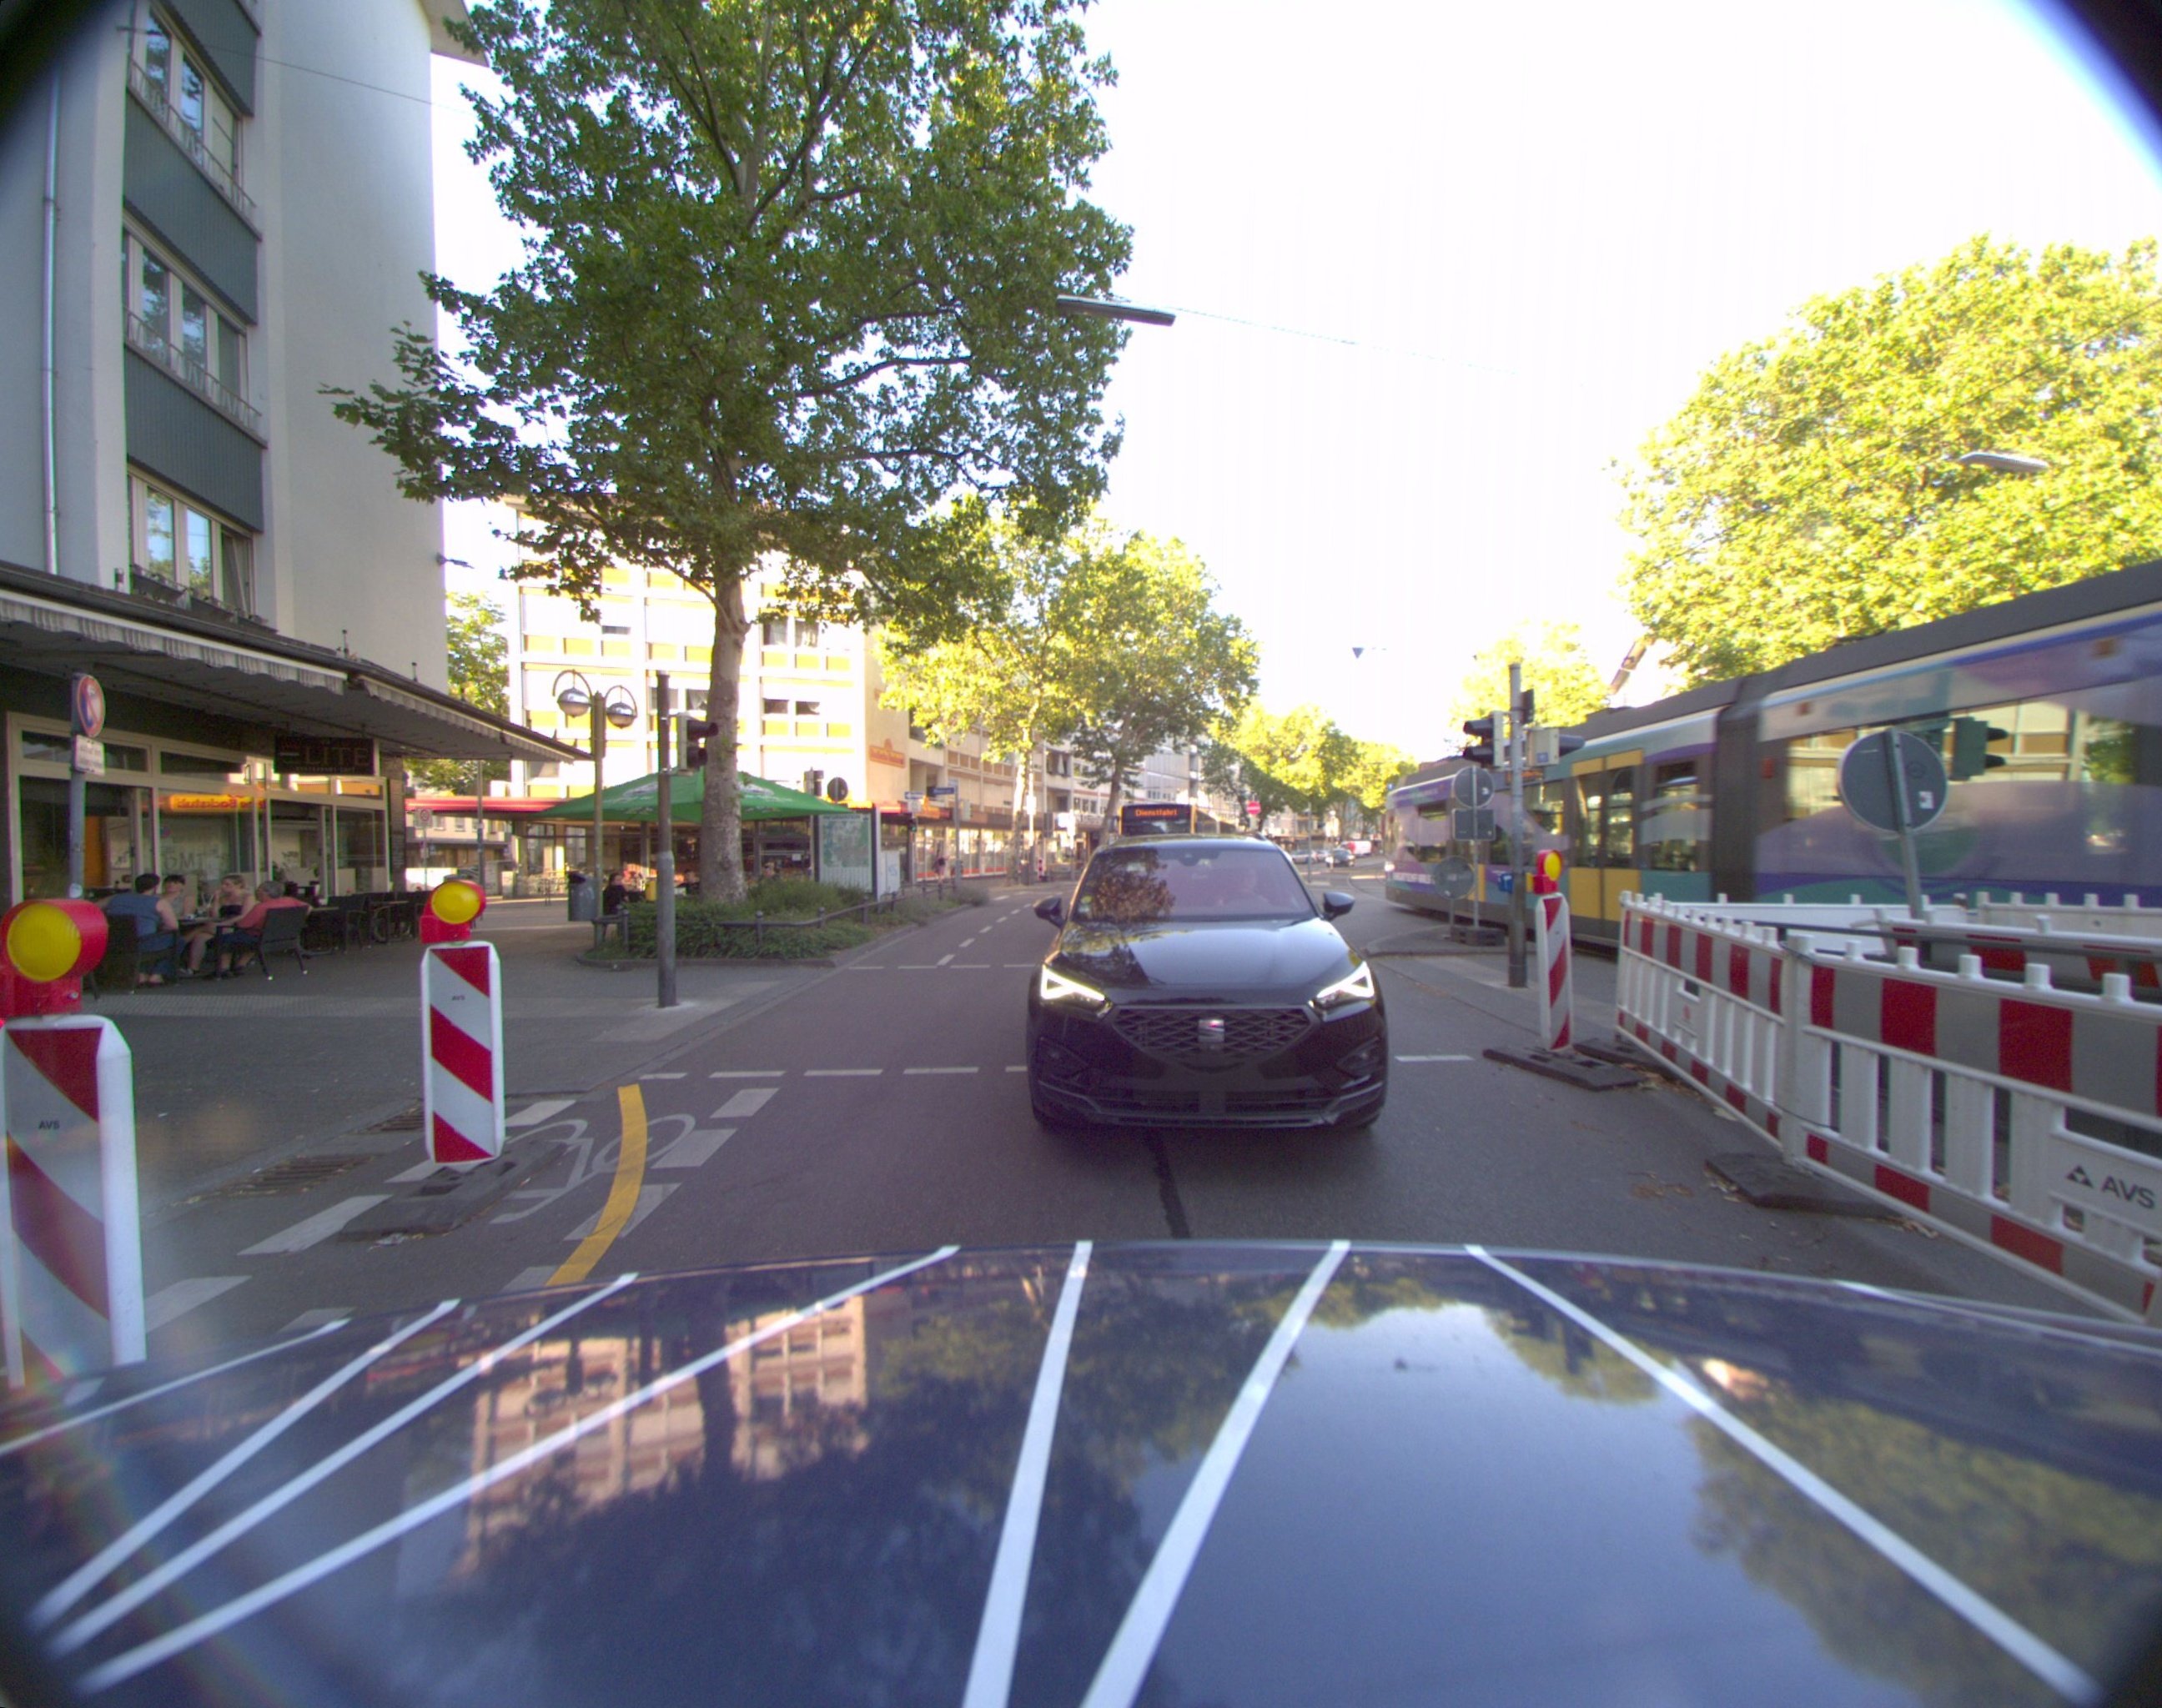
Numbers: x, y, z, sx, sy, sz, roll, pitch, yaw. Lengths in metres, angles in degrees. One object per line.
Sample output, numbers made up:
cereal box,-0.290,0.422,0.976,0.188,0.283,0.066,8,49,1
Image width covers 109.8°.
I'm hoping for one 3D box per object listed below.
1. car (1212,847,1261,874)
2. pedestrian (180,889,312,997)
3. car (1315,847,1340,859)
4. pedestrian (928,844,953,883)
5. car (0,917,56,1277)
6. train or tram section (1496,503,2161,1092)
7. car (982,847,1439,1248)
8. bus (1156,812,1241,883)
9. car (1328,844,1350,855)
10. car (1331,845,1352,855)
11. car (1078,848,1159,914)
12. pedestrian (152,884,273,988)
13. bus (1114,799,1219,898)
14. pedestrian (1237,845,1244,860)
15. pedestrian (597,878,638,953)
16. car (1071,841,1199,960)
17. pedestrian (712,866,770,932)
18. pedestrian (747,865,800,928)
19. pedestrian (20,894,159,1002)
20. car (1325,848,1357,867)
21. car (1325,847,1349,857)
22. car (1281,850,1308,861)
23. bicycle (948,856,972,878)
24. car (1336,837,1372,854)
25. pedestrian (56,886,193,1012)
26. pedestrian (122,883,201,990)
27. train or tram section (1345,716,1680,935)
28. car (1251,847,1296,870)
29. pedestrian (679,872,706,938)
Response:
car,9.555,0.357,46.340,1.908,1.467,4.425,0,2,26
pedestrian,-9.851,1.018,9.005,0.847,1.191,0.649,1,0,-22
car,29.787,-0.138,91.859,2.627,1.464,1.201,-1,2,3
pedestrian,-6.487,0.439,35.053,0.748,1.747,0.903,0,1,17
car,-5.153,0.992,1.431,1.623,1.457,3.604,2,0,-2
train or tram section,7.934,-0.377,7.077,2.877,3.467,10.339,-1,1,3
car,0.680,0.806,5.316,1.848,1.648,4.300,-2,0,4
bus,6.060,-0.328,37.735,2.749,3.085,9.508,0,1,17
car,35.459,-0.637,104.269,2.627,1.380,1.201,-1,2,3
car,36.710,-0.579,107.126,2.627,1.338,1.201,-1,2,3
car,1.098,0.629,20.156,1.743,1.492,4.301,-2,0,7
pedestrian,-10.697,0.985,9.385,0.666,1.211,0.717,0,0,-5
bus,3.523,-0.219,28.620,2.750,3.085,9.506,0,1,14
pedestrian,18.054,-0.187,85.995,0.516,1.647,0.571,0,1,28
pedestrian,-7.785,1.012,12.754,0.469,1.212,0.431,-2,1,-44
car,0.966,0.646,12.791,1.743,1.630,4.300,-2,0,6
pedestrian,-6.813,0.890,15.266,0.718,1.278,0.769,-1,1,14
pedestrian,-6.546,0.887,16.190,0.718,1.278,0.769,-1,1,13
pedestrian,-11.091,1.025,8.529,0.718,1.123,0.649,1,0,-24
car,21.856,0.273,63.840,1.952,1.467,4.764,0,1,26
car,32.896,-0.282,97.716,2.627,1.274,1.201,-1,2,3
car,23.919,0.166,85.029,2.629,1.209,1.200,-1,2,-6
bicycle,-6.673,0.703,42.038,0.528,1.136,1.976,0,1,15
car,40.632,-1.283,113.123,4.868,2.362,1.878,-1,2,-10
pedestrian,-10.224,0.983,8.154,0.651,1.244,0.716,1,0,-24
pedestrian,-11.247,0.985,9.297,0.519,1.236,0.553,0,0,34
train or tram section,8.705,-0.485,17.374,2.841,3.467,10.342,-1,1,7
car,14.216,0.302,55.882,1.952,1.541,4.765,0,2,31
pedestrian,-7.416,0.962,14.489,0.433,1.212,0.467,1,1,-29
